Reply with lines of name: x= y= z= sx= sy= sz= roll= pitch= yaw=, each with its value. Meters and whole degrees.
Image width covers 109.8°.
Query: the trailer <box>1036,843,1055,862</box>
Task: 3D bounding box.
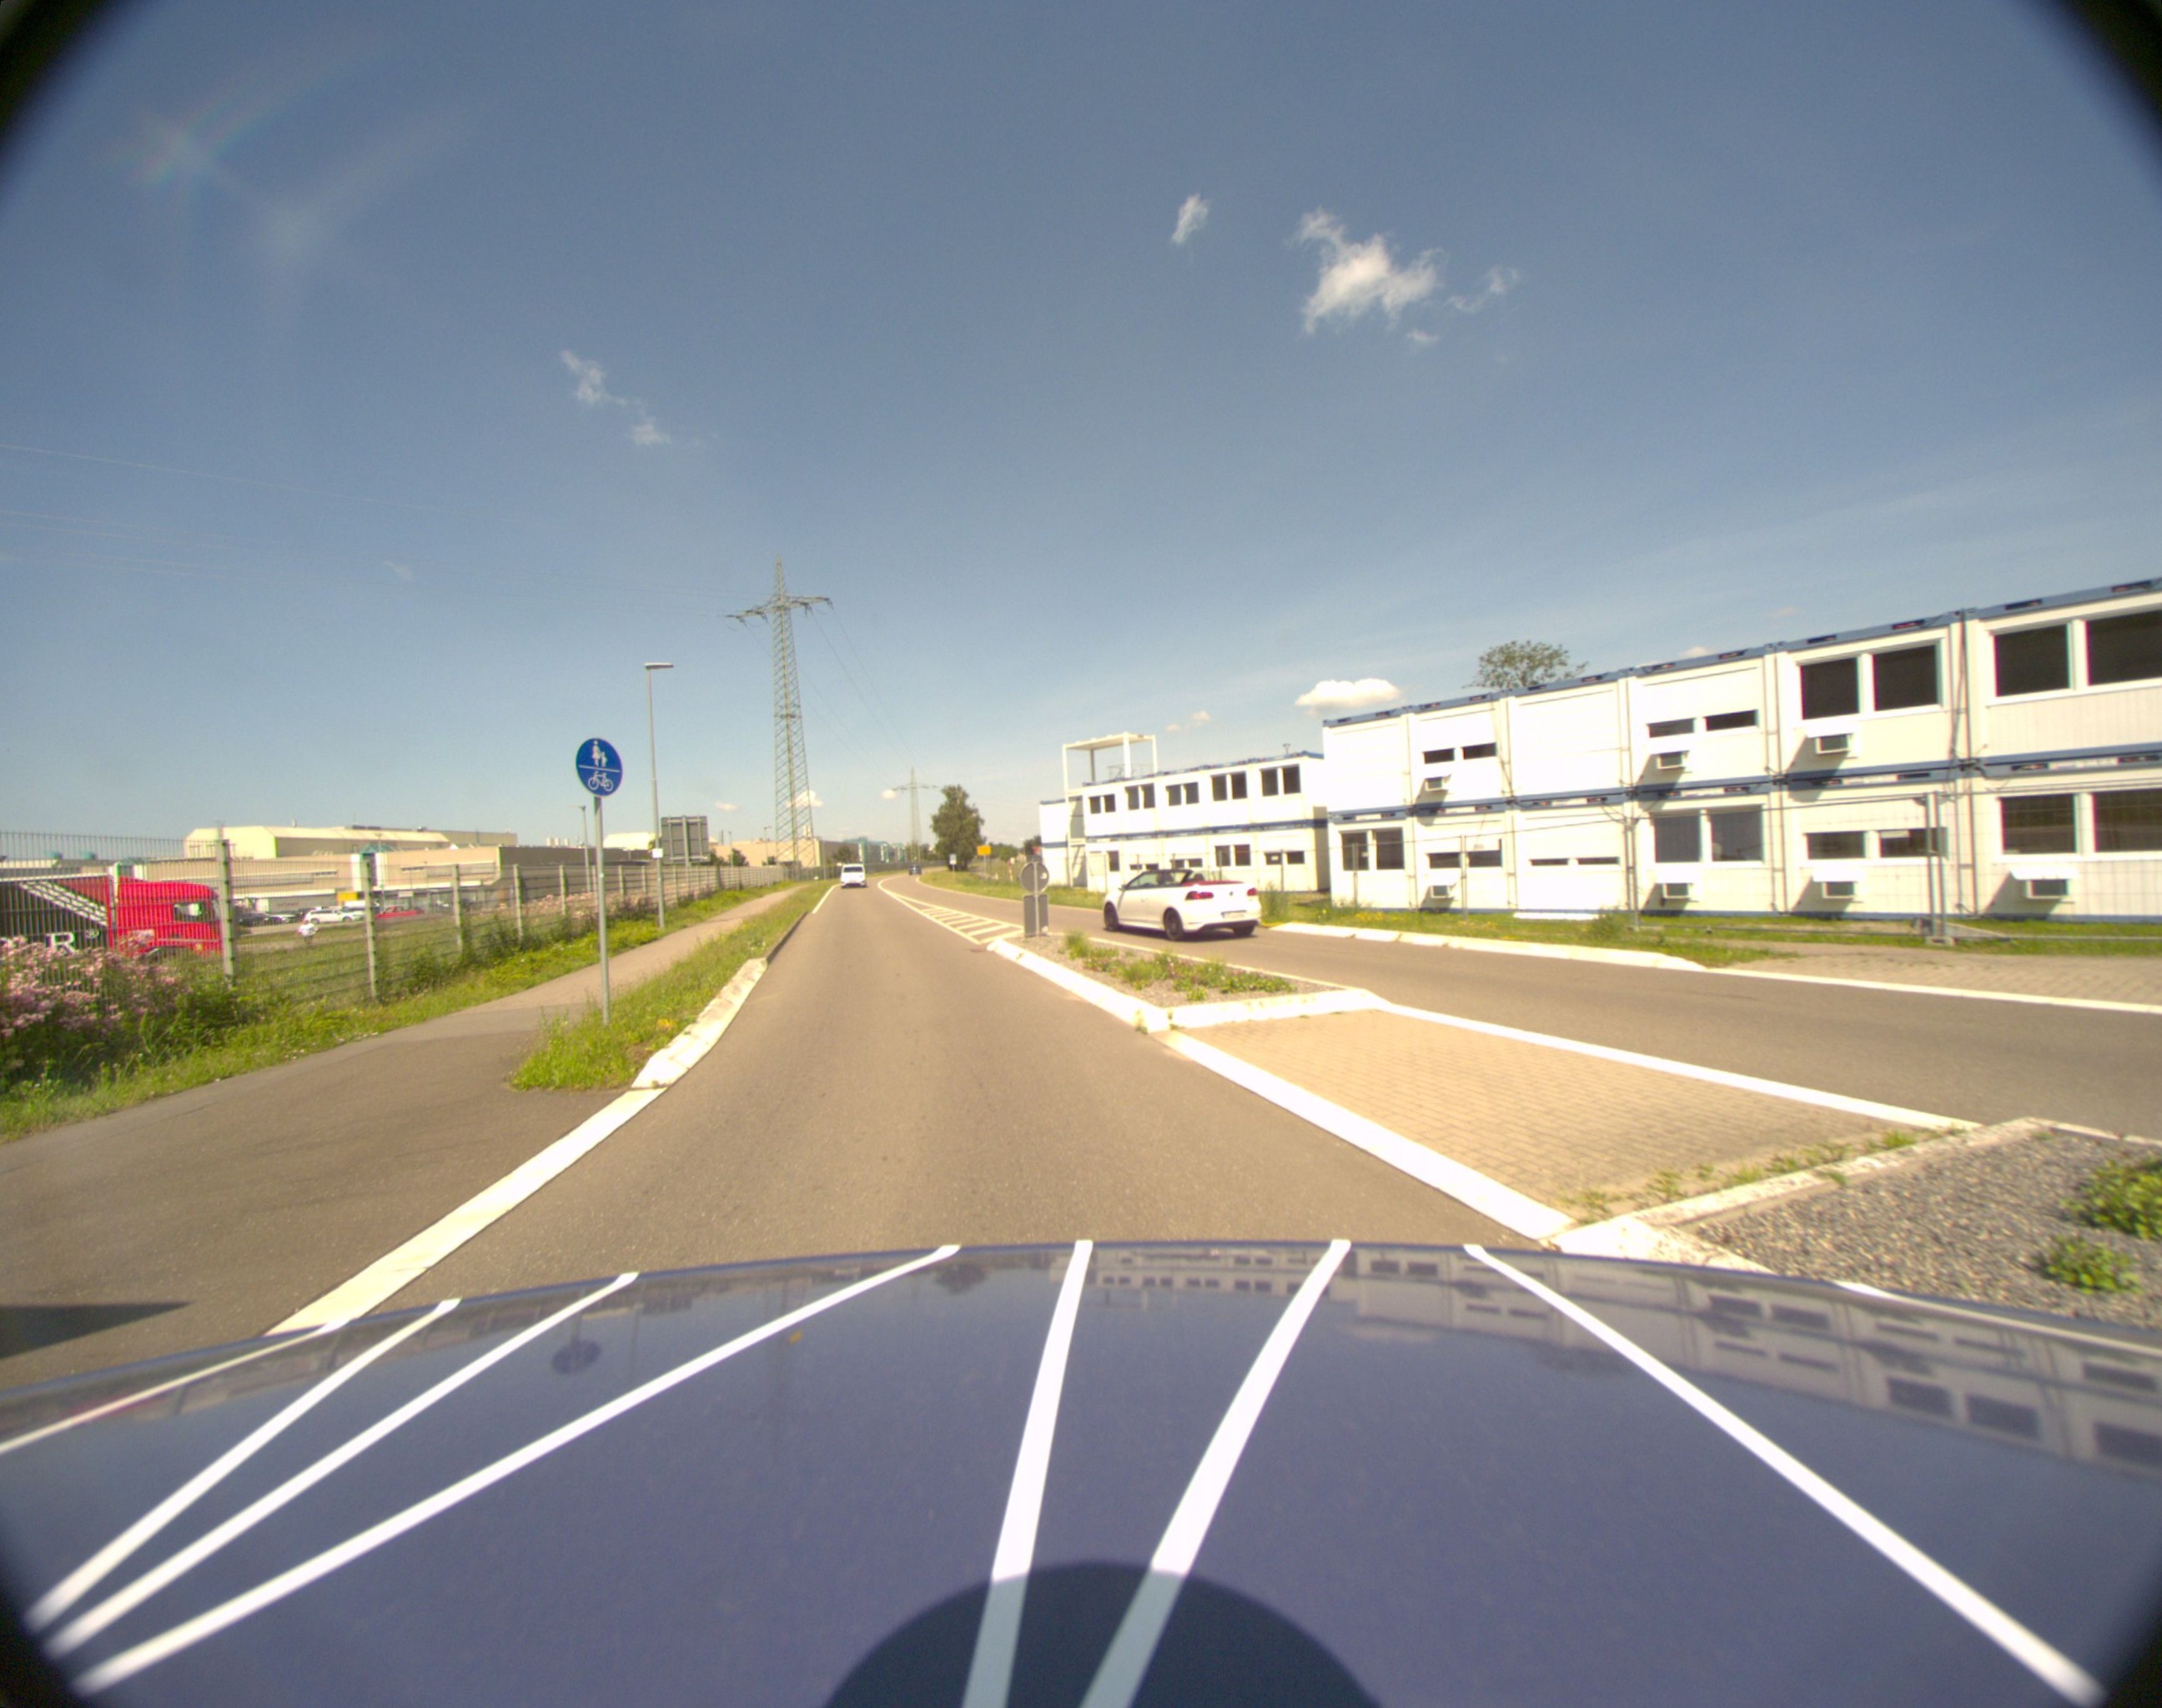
trailer: x=-7.428 y=-0.406 z=155.846 sx=3.300 sy=3.624 sz=14.917 roll=-2 pitch=1 yaw=-5

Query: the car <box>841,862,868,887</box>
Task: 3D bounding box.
car: x=-17.458 y=1.532 z=58.745 sx=1.839 sy=1.796 sz=4.823 roll=-2 pitch=0 yaw=-15

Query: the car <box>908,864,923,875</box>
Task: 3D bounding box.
car: x=-25.169 y=2.376 z=115.558 sx=1.708 sy=1.473 sz=3.997 roll=-2 pitch=1 yaw=-7

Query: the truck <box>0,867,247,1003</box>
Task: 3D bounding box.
truck: x=-36.820 y=2.820 z=25.923 sx=3.020 sy=4.232 sz=10.995 roll=-1 pitch=1 yaw=40

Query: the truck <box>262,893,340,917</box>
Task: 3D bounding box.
truck: x=-133.643 y=8.628 z=130.464 sx=1.999 sy=3.119 sz=11.845 roll=-4 pitch=0 yaw=-6

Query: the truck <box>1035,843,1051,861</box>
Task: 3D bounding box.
truck: x=-8.516 y=-0.486 z=168.536 sx=3.110 sy=3.624 sz=10.588 roll=-2 pitch=1 yaw=-5

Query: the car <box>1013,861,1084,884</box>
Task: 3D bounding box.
car: x=-2.468 y=1.376 z=57.720 sx=4.991 sy=1.409 sz=1.996 roll=-3 pitch=0 yaw=-26

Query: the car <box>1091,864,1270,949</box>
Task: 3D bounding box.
car: x=1.899 y=0.977 z=15.802 sx=1.777 sy=1.420 sz=4.044 roll=-3 pitch=1 yaw=-25
